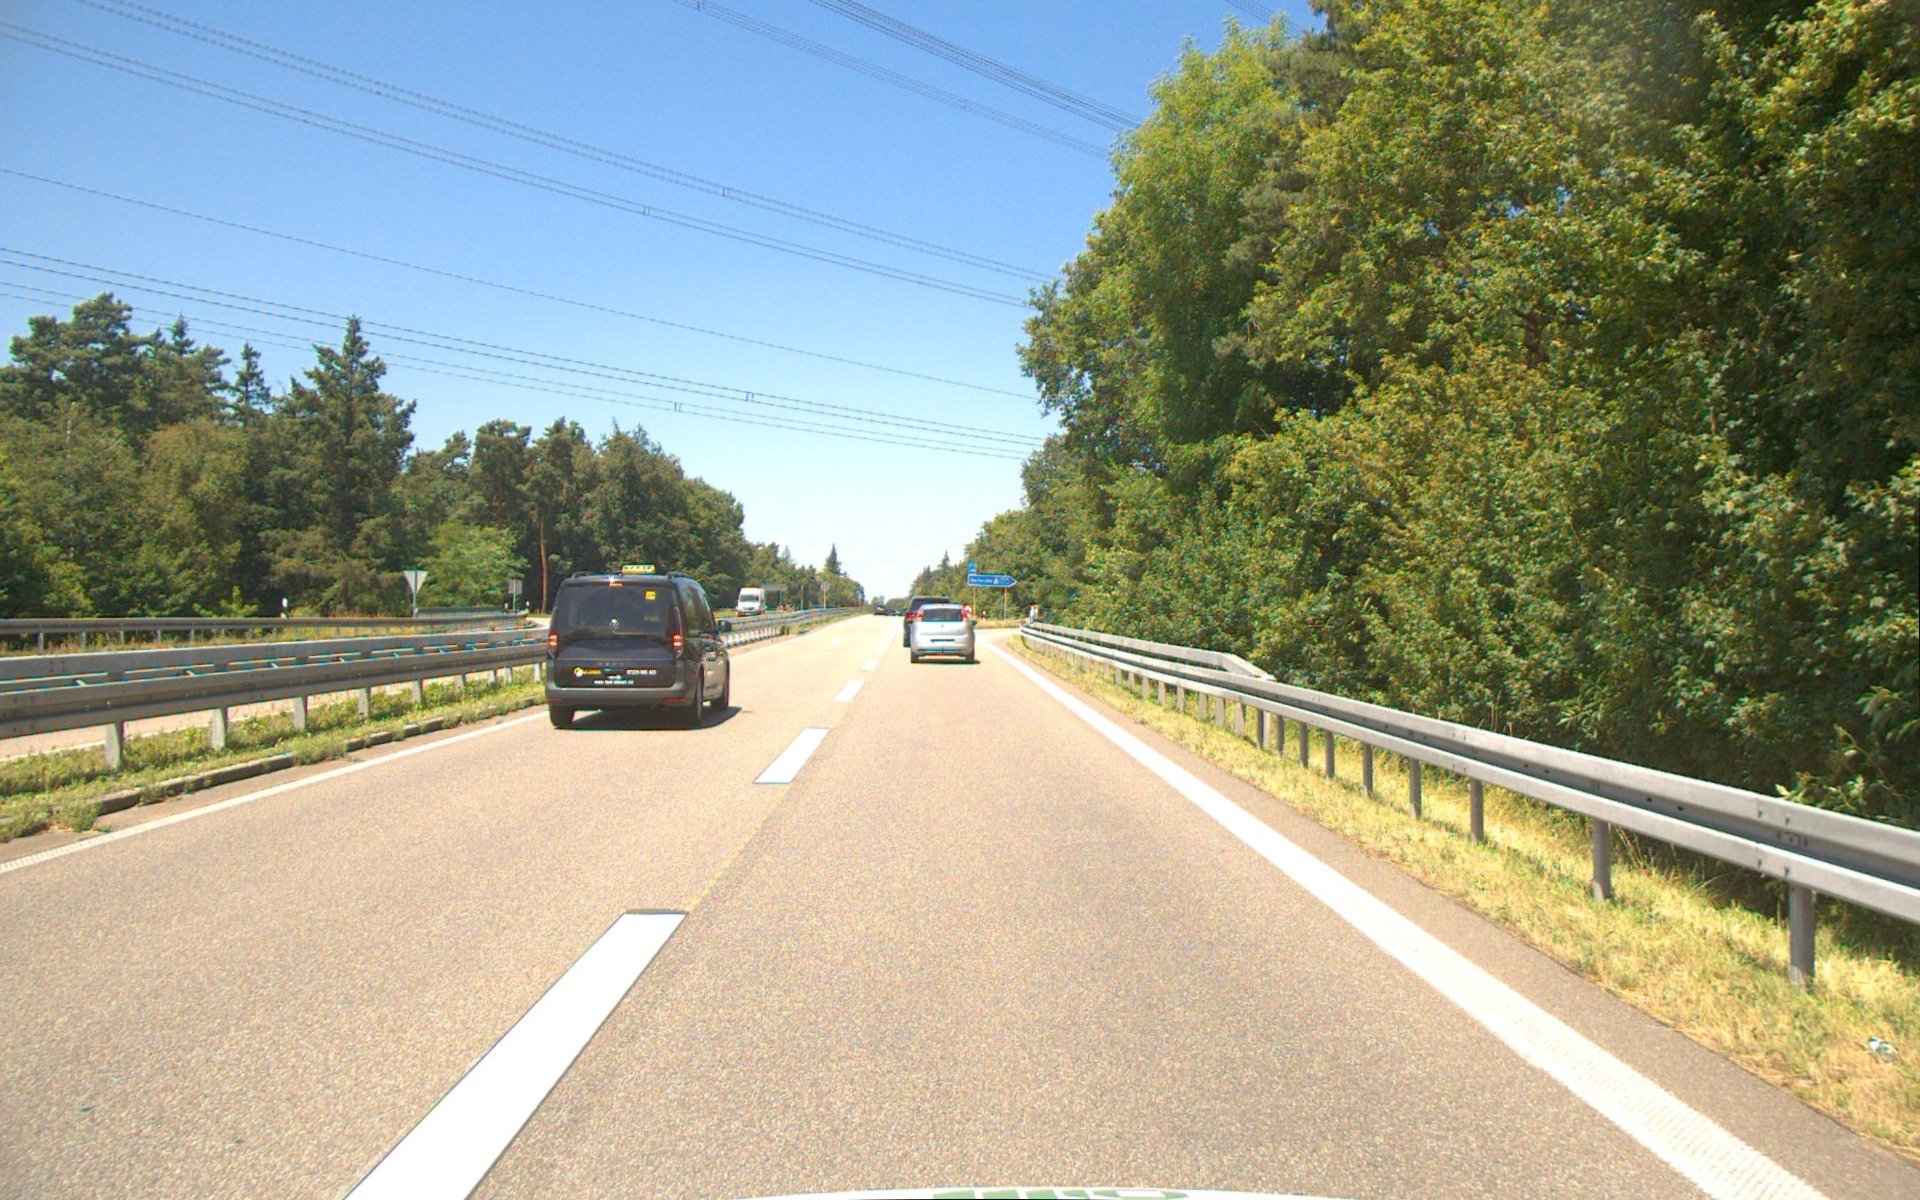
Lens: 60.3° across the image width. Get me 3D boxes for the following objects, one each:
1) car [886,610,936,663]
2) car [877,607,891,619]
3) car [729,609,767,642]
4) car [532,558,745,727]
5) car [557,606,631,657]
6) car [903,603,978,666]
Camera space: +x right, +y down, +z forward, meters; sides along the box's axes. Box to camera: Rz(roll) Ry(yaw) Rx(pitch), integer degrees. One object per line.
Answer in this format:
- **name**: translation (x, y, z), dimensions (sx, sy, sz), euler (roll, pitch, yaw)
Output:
- **car**: translation (-1.662, 1.255, 57.470), dimensions (1.607, 1.682, 3.573), euler (3, -1, -1)
- **car**: translation (-10.058, 1.695, 217.978), dimensions (1.678, 1.497, 3.572), euler (3, -1, -2)
- **car**: translation (-18.225, 2.193, 142.395), dimensions (2.473, 2.664, 7.183), euler (-1, -1, -1)
- **car**: translation (-4.015, 0.528, 21.595), dimensions (1.817, 1.920, 5.571), euler (0, -1, -1)
- **car**: translation (-14.900, 1.273, 67.635), dimensions (1.852, 2.027, 5.531), euler (0, -1, -1)
- **car**: translation (-0.548, 0.872, 42.798), dimensions (1.608, 1.493, 3.415), euler (3, -1, -5)
